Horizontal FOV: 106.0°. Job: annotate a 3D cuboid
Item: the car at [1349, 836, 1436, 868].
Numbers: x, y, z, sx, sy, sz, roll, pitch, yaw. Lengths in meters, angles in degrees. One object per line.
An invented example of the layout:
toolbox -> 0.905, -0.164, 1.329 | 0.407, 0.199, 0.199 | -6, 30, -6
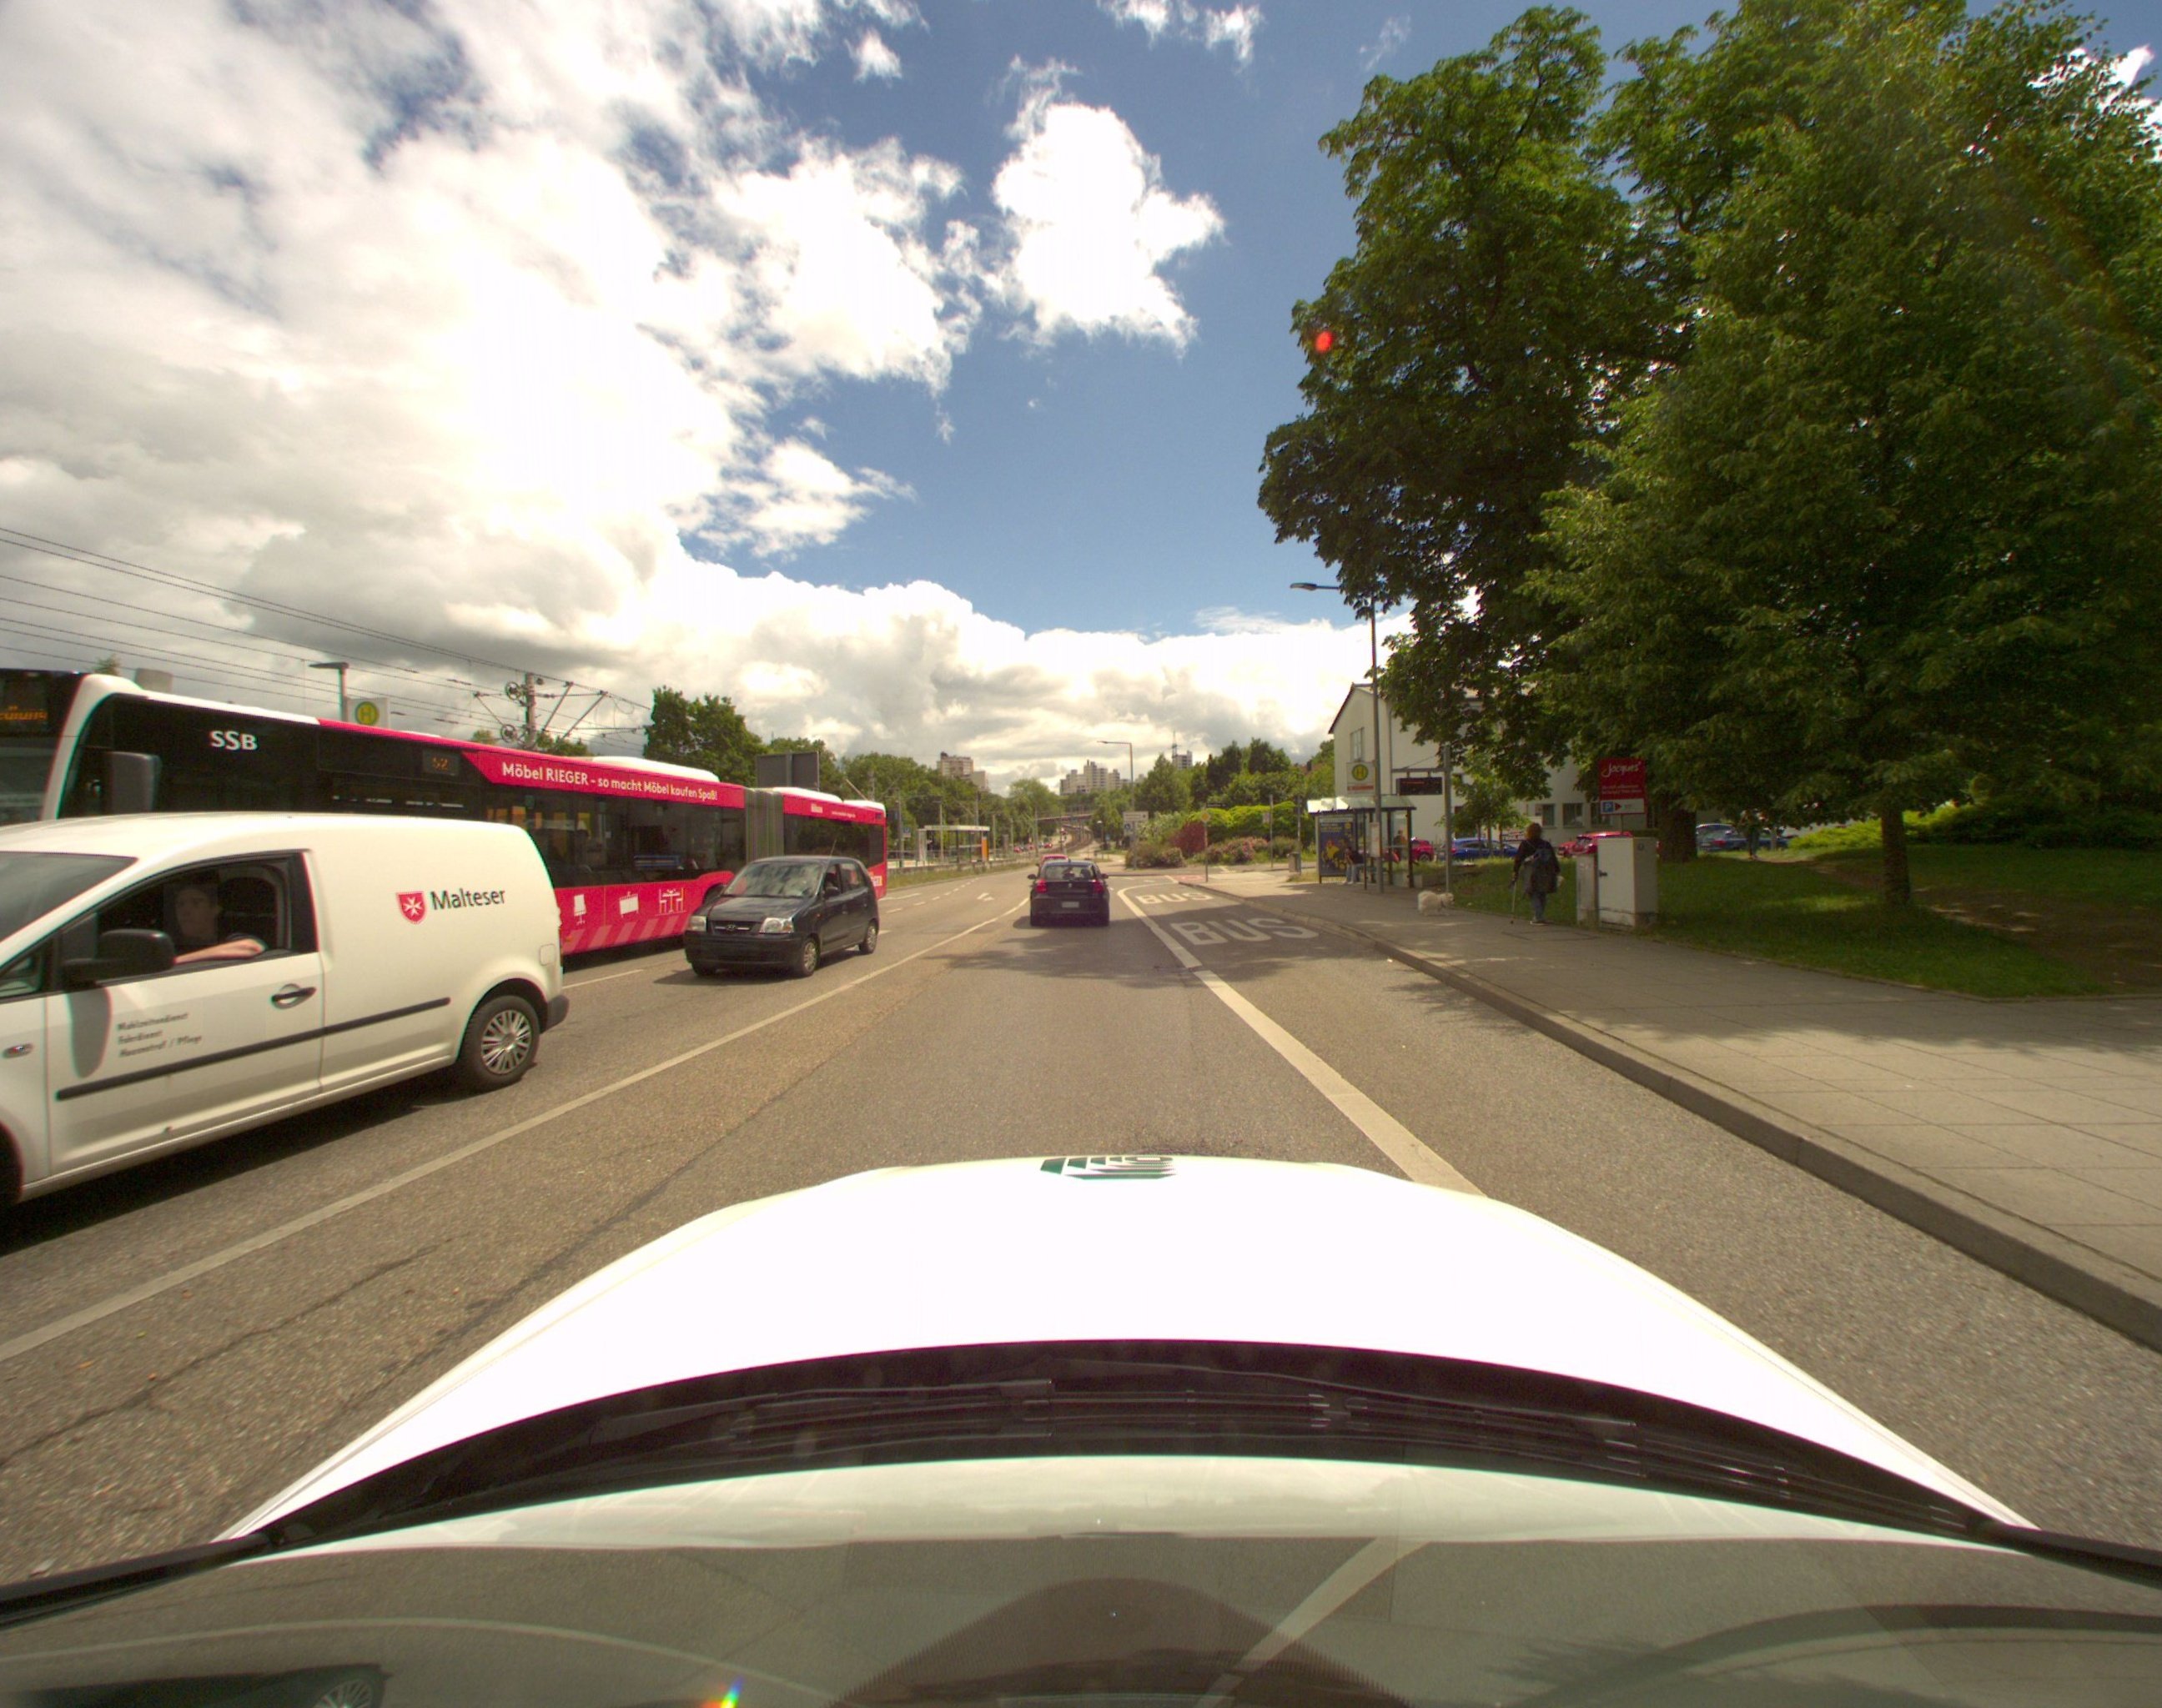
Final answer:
car -> 17.434, -0.132, 45.735 | 4.144, 1.561, 2.000 | -2, 3, -1

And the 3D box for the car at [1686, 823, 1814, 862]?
car -> 29.895, -0.506, 36.486 | 4.064, 1.559, 2.000 | -2, 0, 0

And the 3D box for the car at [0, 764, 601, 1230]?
car -> -4.692, 0.546, 4.036 | 1.754, 1.663, 4.509 | -2, -1, 3

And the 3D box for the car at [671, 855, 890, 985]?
car -> -4.050, 0.791, 11.658 | 1.523, 1.551, 3.736 | 0, 0, 4

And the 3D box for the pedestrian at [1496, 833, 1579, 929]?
pedestrian -> 7.090, 0.409, 12.695 | 0.815, 1.425, 0.831 | -2, -1, 5

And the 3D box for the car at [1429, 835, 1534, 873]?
car -> 18.001, -0.012, 36.766 | 3.779, 1.456, 1.897 | -3, 1, 1

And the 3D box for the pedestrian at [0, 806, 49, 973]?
pedestrian -> -13.553, 0.444, 9.793 | 0.965, 2.014, 1.031 | -2, -1, 7

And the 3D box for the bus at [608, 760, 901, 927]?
bus -> -7.145, -0.326, 19.796 | 2.713, 3.069, 8.977 | -1, 2, 5

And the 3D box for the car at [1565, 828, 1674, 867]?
car -> 24.179, -0.305, 36.651 | 3.672, 1.643, 1.831 | -1, 1, 2

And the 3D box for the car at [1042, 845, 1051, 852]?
car -> -8.052, -1.272, 188.973 | 1.711, 1.503, 2.971 | -1, 1, 5

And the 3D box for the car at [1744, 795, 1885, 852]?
car -> 40.452, -1.660, 45.039 | 5.553, 2.866, 2.207 | -2, 0, 3

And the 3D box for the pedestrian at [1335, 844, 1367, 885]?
pedestrian -> 8.720, 0.336, 26.295 | 0.823, 1.259, 0.687 | -2, 0, 7

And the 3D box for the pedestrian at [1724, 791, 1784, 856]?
pedestrian -> 19.126, -0.848, 23.161 | 0.978, 1.760, 0.861 | -2, -1, 14

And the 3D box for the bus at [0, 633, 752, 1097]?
bus -> -7.956, -0.035, 10.396 | 2.713, 3.108, 9.719 | -1, 2, 5

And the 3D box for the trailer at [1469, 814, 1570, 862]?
trailer -> 24.574, -0.900, 45.771 | 4.518, 2.486, 2.223 | -1, 1, 2

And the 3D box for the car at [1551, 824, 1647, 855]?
car -> 28.927, -0.840, 45.589 | 4.064, 1.502, 2.002 | -3, 1, 2

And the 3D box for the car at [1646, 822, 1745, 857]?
car -> 34.076, -0.784, 45.280 | 3.968, 1.723, 1.911 | -2, 0, 5

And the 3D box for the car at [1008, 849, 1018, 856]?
car -> -13.574, -0.320, 162.806 | 1.521, 1.370, 3.602 | -2, 1, 5

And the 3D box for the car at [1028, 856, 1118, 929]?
car -> -0.165, 0.811, 18.701 | 1.809, 1.421, 3.999 | -2, -1, 0

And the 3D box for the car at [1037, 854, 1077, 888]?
car -> -1.126, 0.772, 38.081 | 1.761, 1.432, 3.476 | -2, 0, -2
